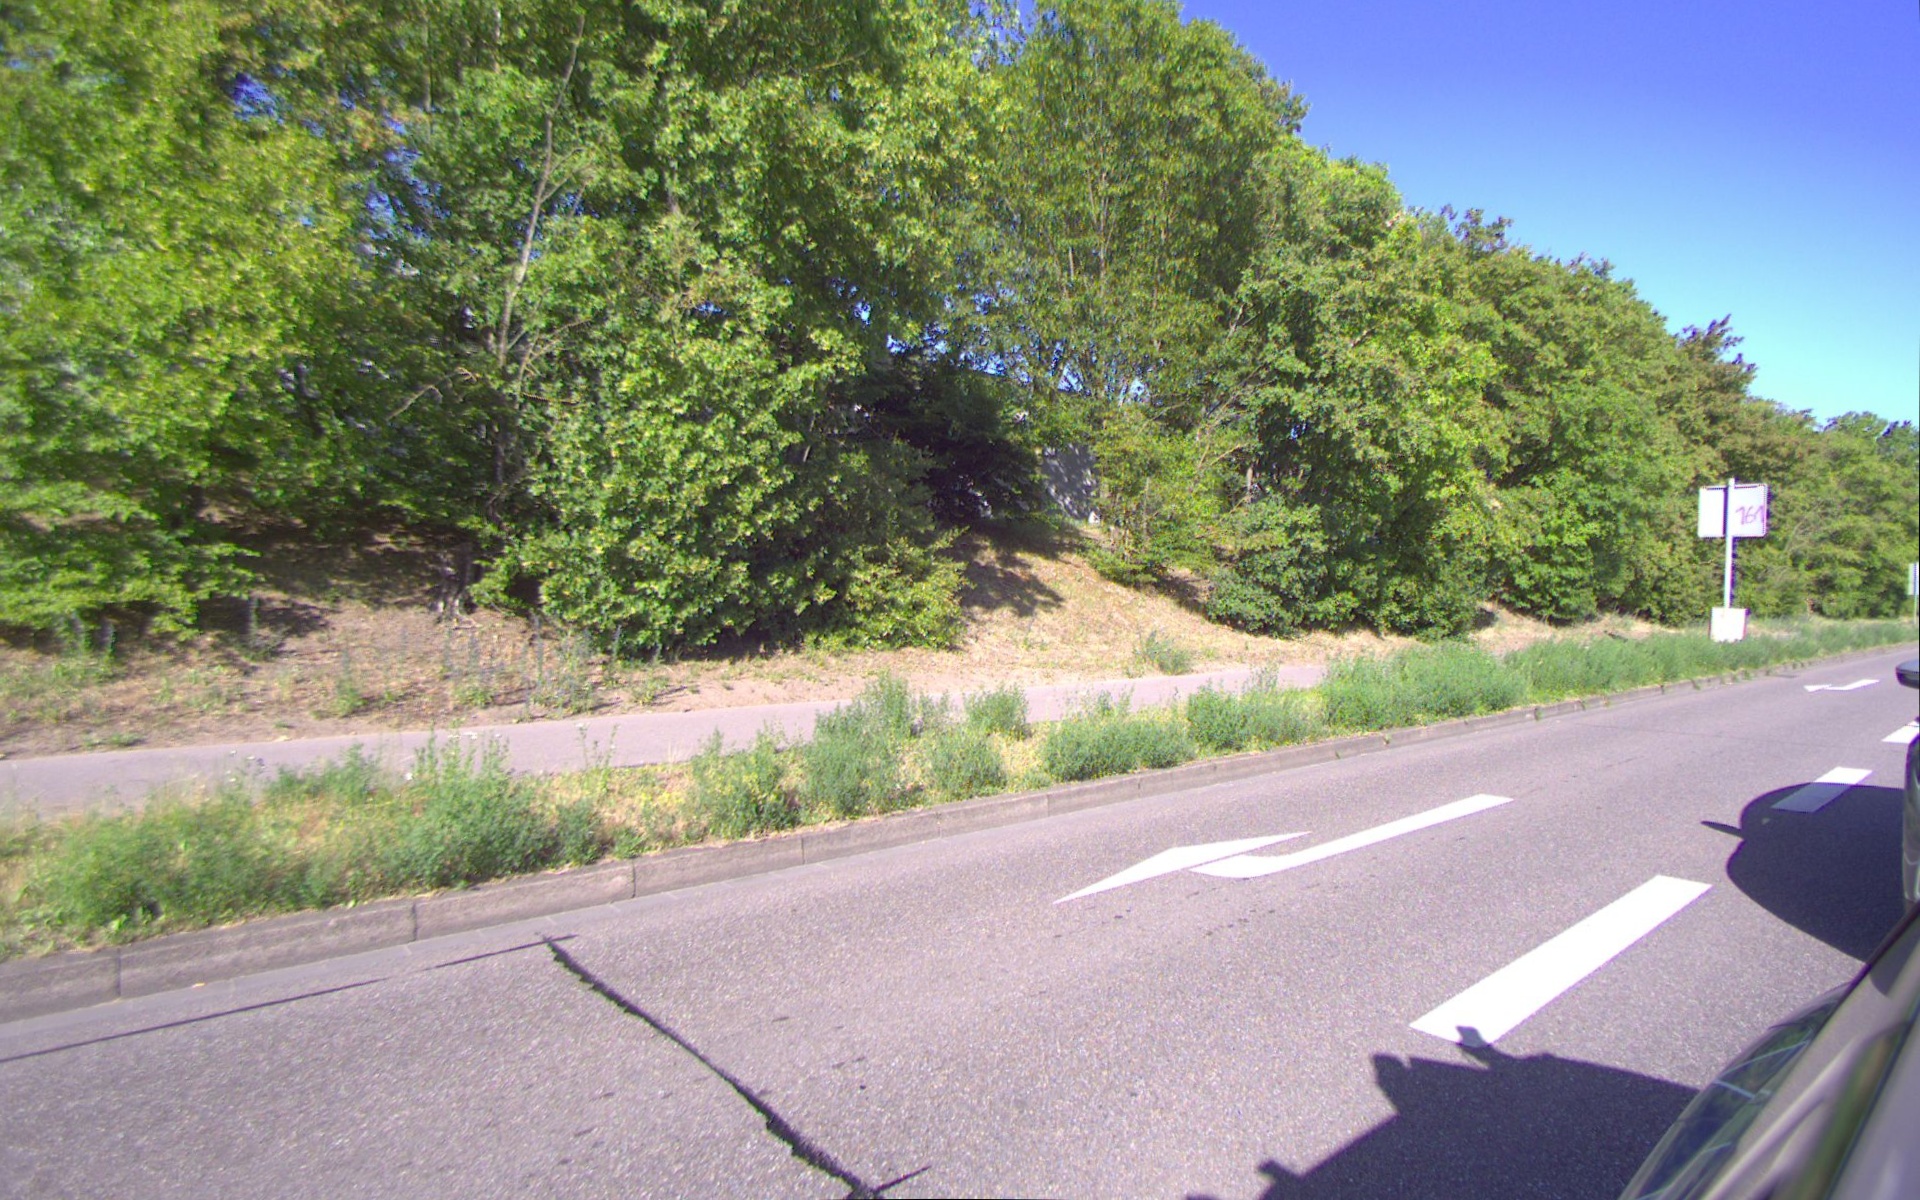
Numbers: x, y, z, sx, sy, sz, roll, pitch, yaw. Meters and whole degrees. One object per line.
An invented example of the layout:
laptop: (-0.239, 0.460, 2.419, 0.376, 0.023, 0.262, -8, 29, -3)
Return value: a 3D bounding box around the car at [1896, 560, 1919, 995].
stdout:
car: (5.712, 0.656, 4.523, 4.327, 1.603, 1.860, 0, 0, -42)
